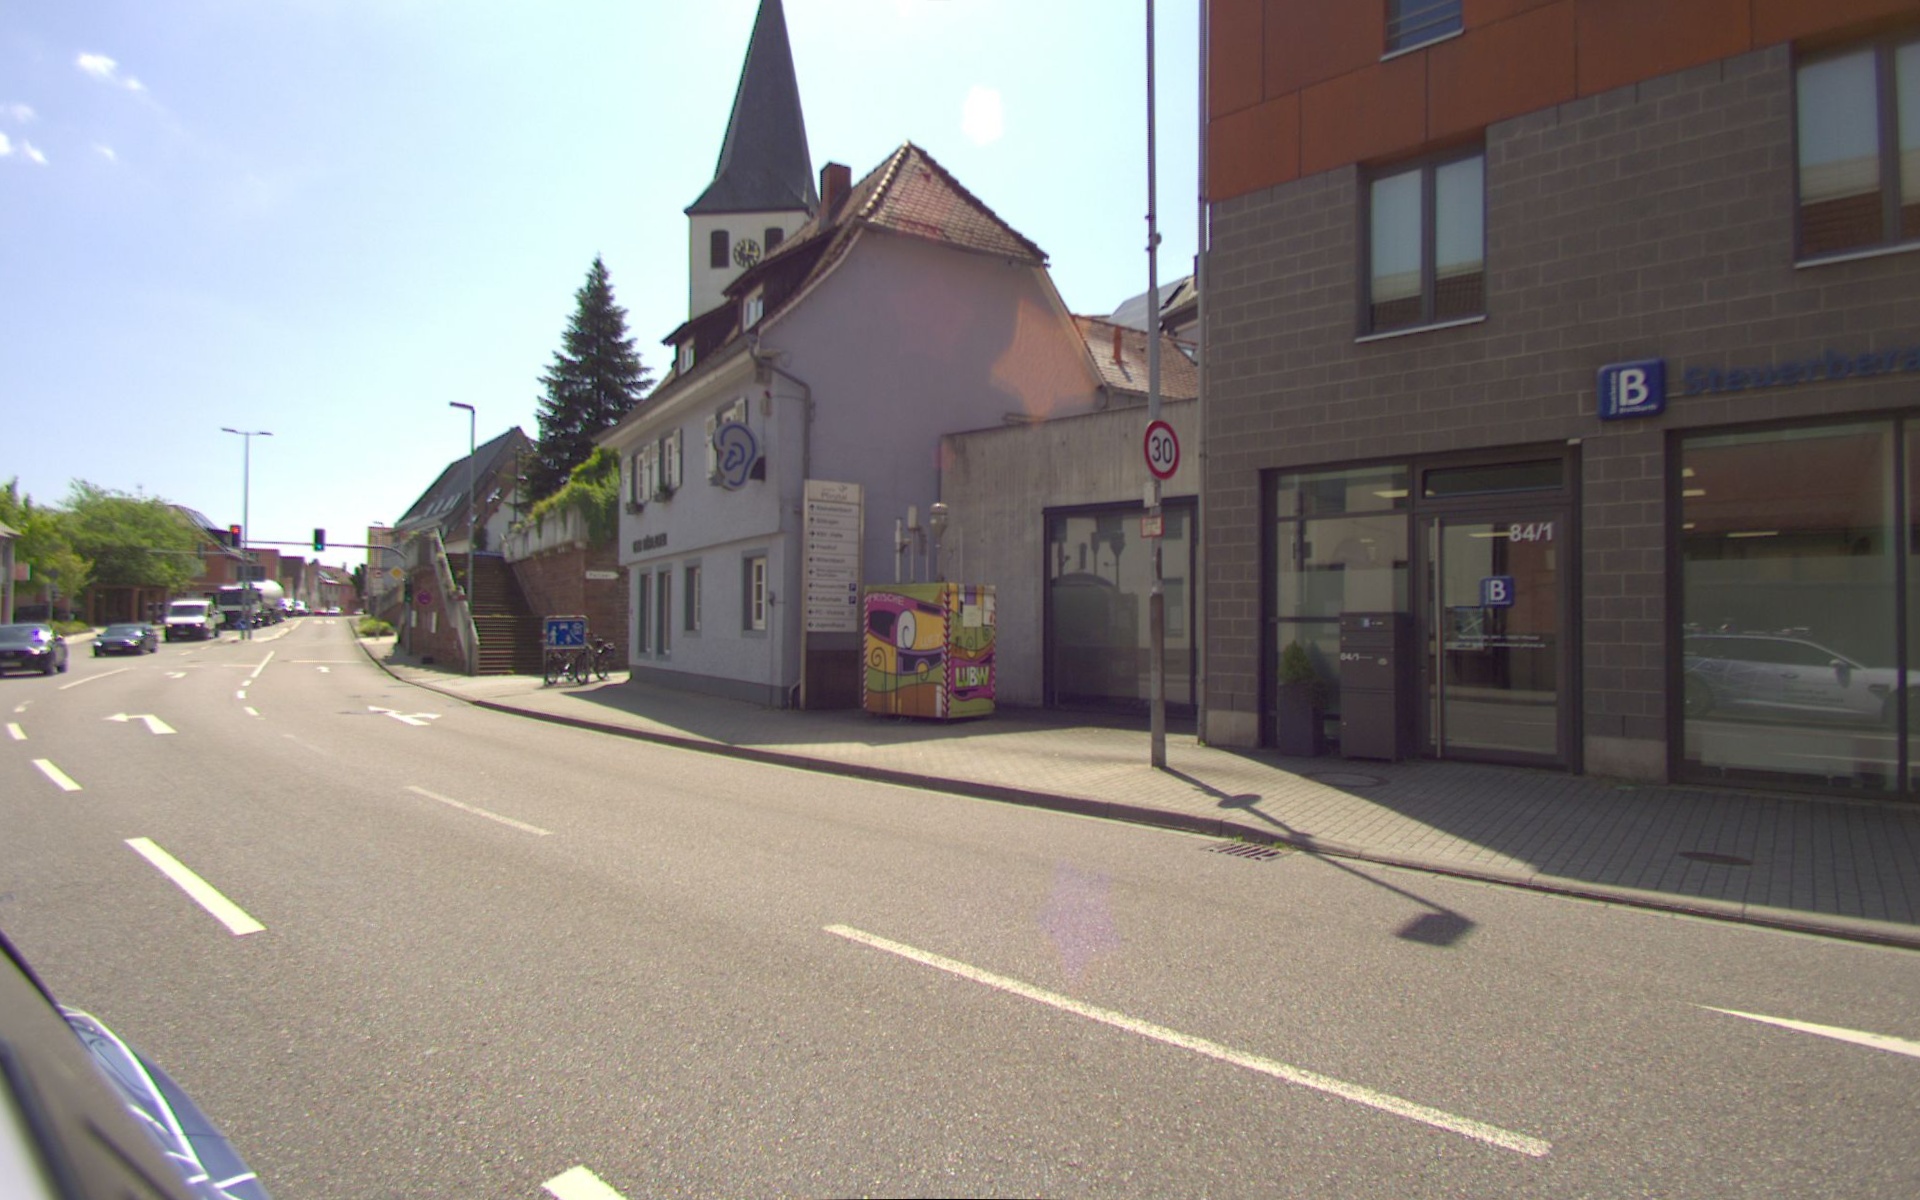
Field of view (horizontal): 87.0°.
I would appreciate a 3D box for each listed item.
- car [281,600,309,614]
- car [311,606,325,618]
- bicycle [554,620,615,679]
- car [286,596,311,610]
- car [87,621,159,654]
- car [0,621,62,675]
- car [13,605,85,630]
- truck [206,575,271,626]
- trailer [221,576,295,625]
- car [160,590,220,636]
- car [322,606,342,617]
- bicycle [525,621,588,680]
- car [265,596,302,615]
[{"bbox_3d":[-79.216,0.834,120.629,1.978,1.643,4.592,0,-1,-23],"label":"car"},{"bbox_3d":[-103.732,1.977,163.570,1.737,1.799,4.012,-1,-1,-30],"label":"car"},{"bbox_3d":[-8.817,1.147,23.820,0.571,1.258,1.828,-3,0,5],"label":"bicycle"},{"bbox_3d":[-84.371,0.369,129.196,1.978,1.643,4.593,0,-1,-24],"label":"car"},{"bbox_3d":[-38.916,1.719,47.148,1.897,1.376,4.316,-1,0,-30],"label":"car"},{"bbox_3d":[-29.889,1.485,32.181,1.698,1.562,4.312,-1,0,-38],"label":"car"},{"bbox_3d":[-66.577,1.244,74.014,3.700,1.723,1.729,-1,0,-34],"label":"car"},{"bbox_3d":[-52.379,0.098,73.635,2.800,3.597,5.486,0,-2,-24],"label":"truck"},{"bbox_3d":[-55.122,0.190,79.773,2.790,3.597,11.001,0,-1,-24],"label":"trailer"},{"bbox_3d":[-45.960,0.805,60.503,2.139,2.583,4.839,1,-2,-29],"label":"car"},{"bbox_3d":[-98.707,1.764,159.151,1.978,1.643,4.592,0,-1,-22],"label":"car"},{"bbox_3d":[-9.461,1.157,23.811,0.571,1.258,1.828,-3,0,5],"label":"bicycle"},{"bbox_3d":[-63.159,0.522,94.547,1.978,1.643,4.592,0,-1,-22],"label":"car"}]
